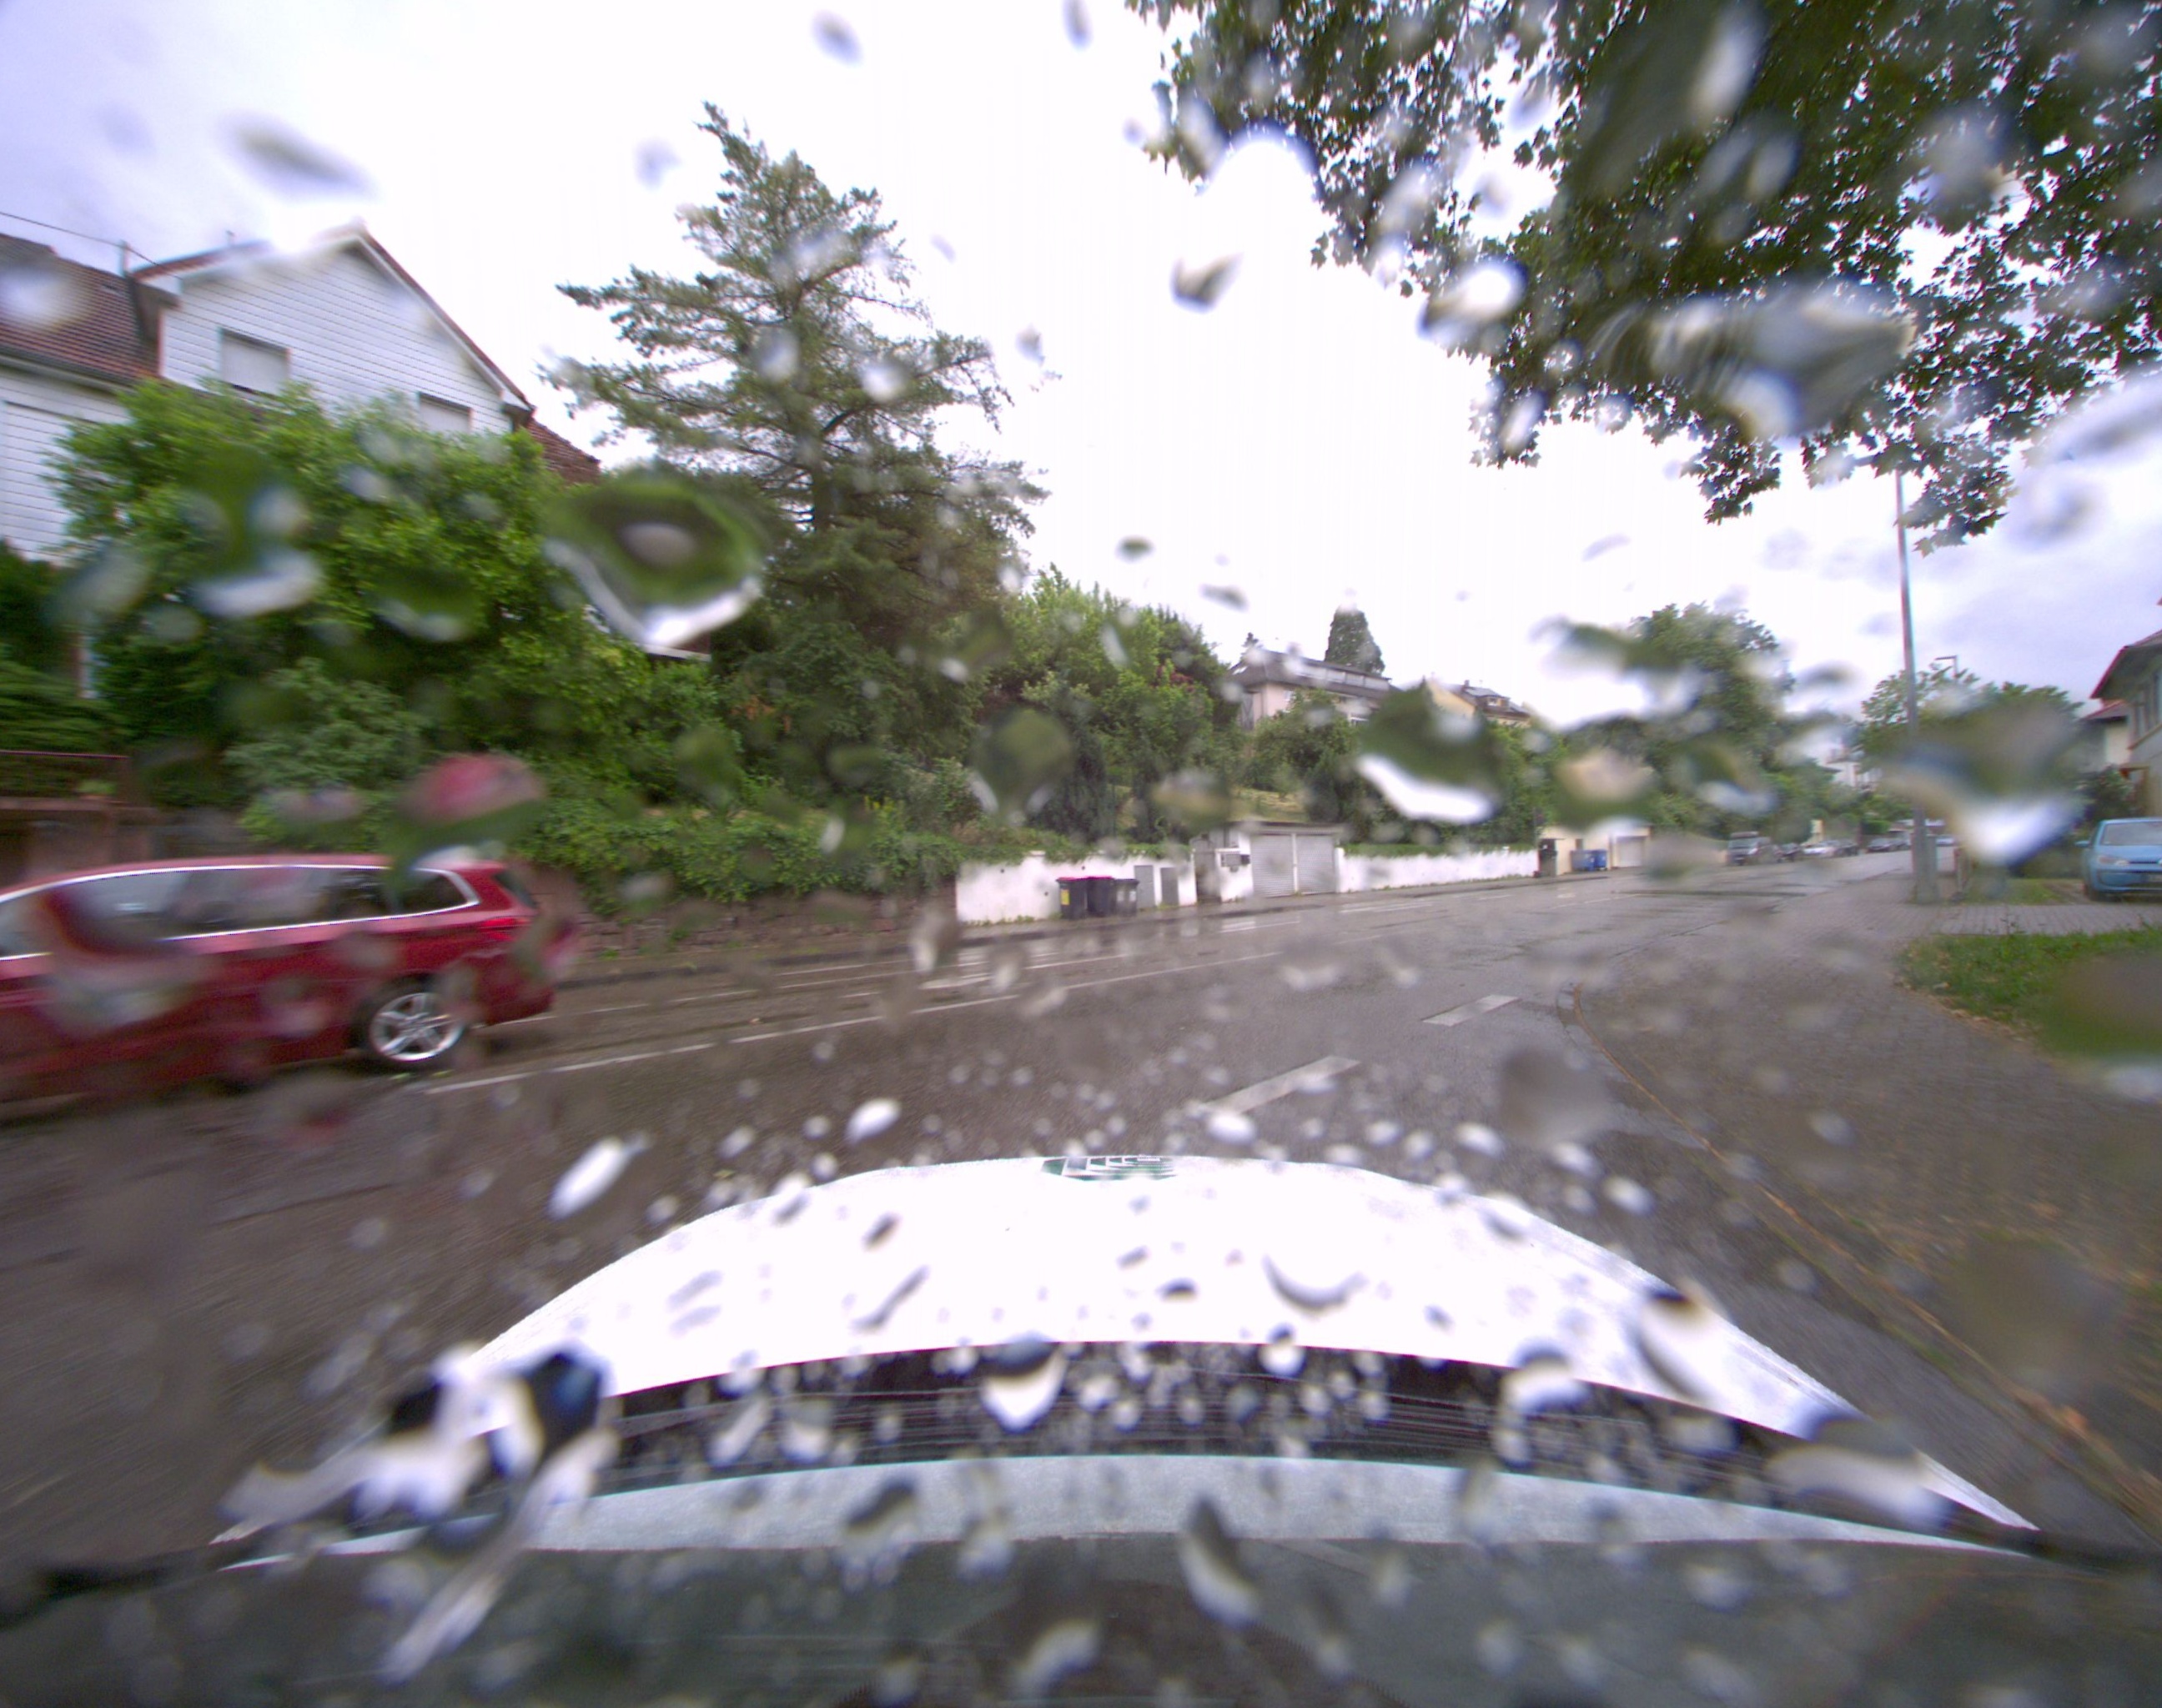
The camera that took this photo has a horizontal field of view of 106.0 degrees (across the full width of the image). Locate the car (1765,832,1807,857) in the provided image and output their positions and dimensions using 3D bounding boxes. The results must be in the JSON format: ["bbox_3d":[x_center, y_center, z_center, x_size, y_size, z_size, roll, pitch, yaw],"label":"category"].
[{"bbox_3d":[55.179,-0.759,63.688,4.021,1.682,1.802,-3,-1,-40],"label":"car"}]

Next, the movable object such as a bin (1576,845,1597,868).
[{"bbox_3d":[30.885,0.136,49.752,0.837,1.336,0.706,-3,-1,-34],"label":"movable object such as a bin"}]

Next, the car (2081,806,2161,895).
[{"bbox_3d":[19.333,-0.116,14.631,3.567,1.447,1.631,-3,-1,-40],"label":"car"}]

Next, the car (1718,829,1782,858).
[{"bbox_3d":[47.085,-0.726,57.258,5.205,1.753,2.277,-3,-1,-38],"label":"car"}]

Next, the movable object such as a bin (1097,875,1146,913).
[{"bbox_3d":[1.083,1.059,21.662,0.959,0.916,0.841,-3,-1,-44],"label":"movable object such as a bin"}]

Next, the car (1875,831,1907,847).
[{"bbox_3d":[86.785,-1.638,87.282,3.833,1.551,1.701,-3,-1,-35],"label":"car"}]

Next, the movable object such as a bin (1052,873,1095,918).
[{"bbox_3d":[-0.183,1.036,20.316,0.758,1.060,0.680,-2,-1,-43],"label":"movable object such as a bin"}]

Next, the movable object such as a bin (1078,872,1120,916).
[{"bbox_3d":[0.461,1.012,20.803,0.798,1.060,0.628,-2,-1,-43],"label":"movable object such as a bin"}]

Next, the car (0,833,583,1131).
[{"bbox_3d":[-6.258,0.757,5.532,4.609,1.601,1.753,-3,-1,-43],"label":"car"}]

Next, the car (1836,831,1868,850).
[{"bbox_3d":[72.345,-1.300,76.380,3.836,1.551,1.717,-3,-1,-40],"label":"car"}]

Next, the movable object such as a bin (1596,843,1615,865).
[{"bbox_3d":[32.828,-0.002,50.970,0.837,1.336,0.706,-3,-1,-34],"label":"movable object such as a bin"}]

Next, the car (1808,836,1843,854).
[{"bbox_3d":[64.545,-0.776,70.621,3.699,1.345,1.696,-3,-1,-40],"label":"car"}]
